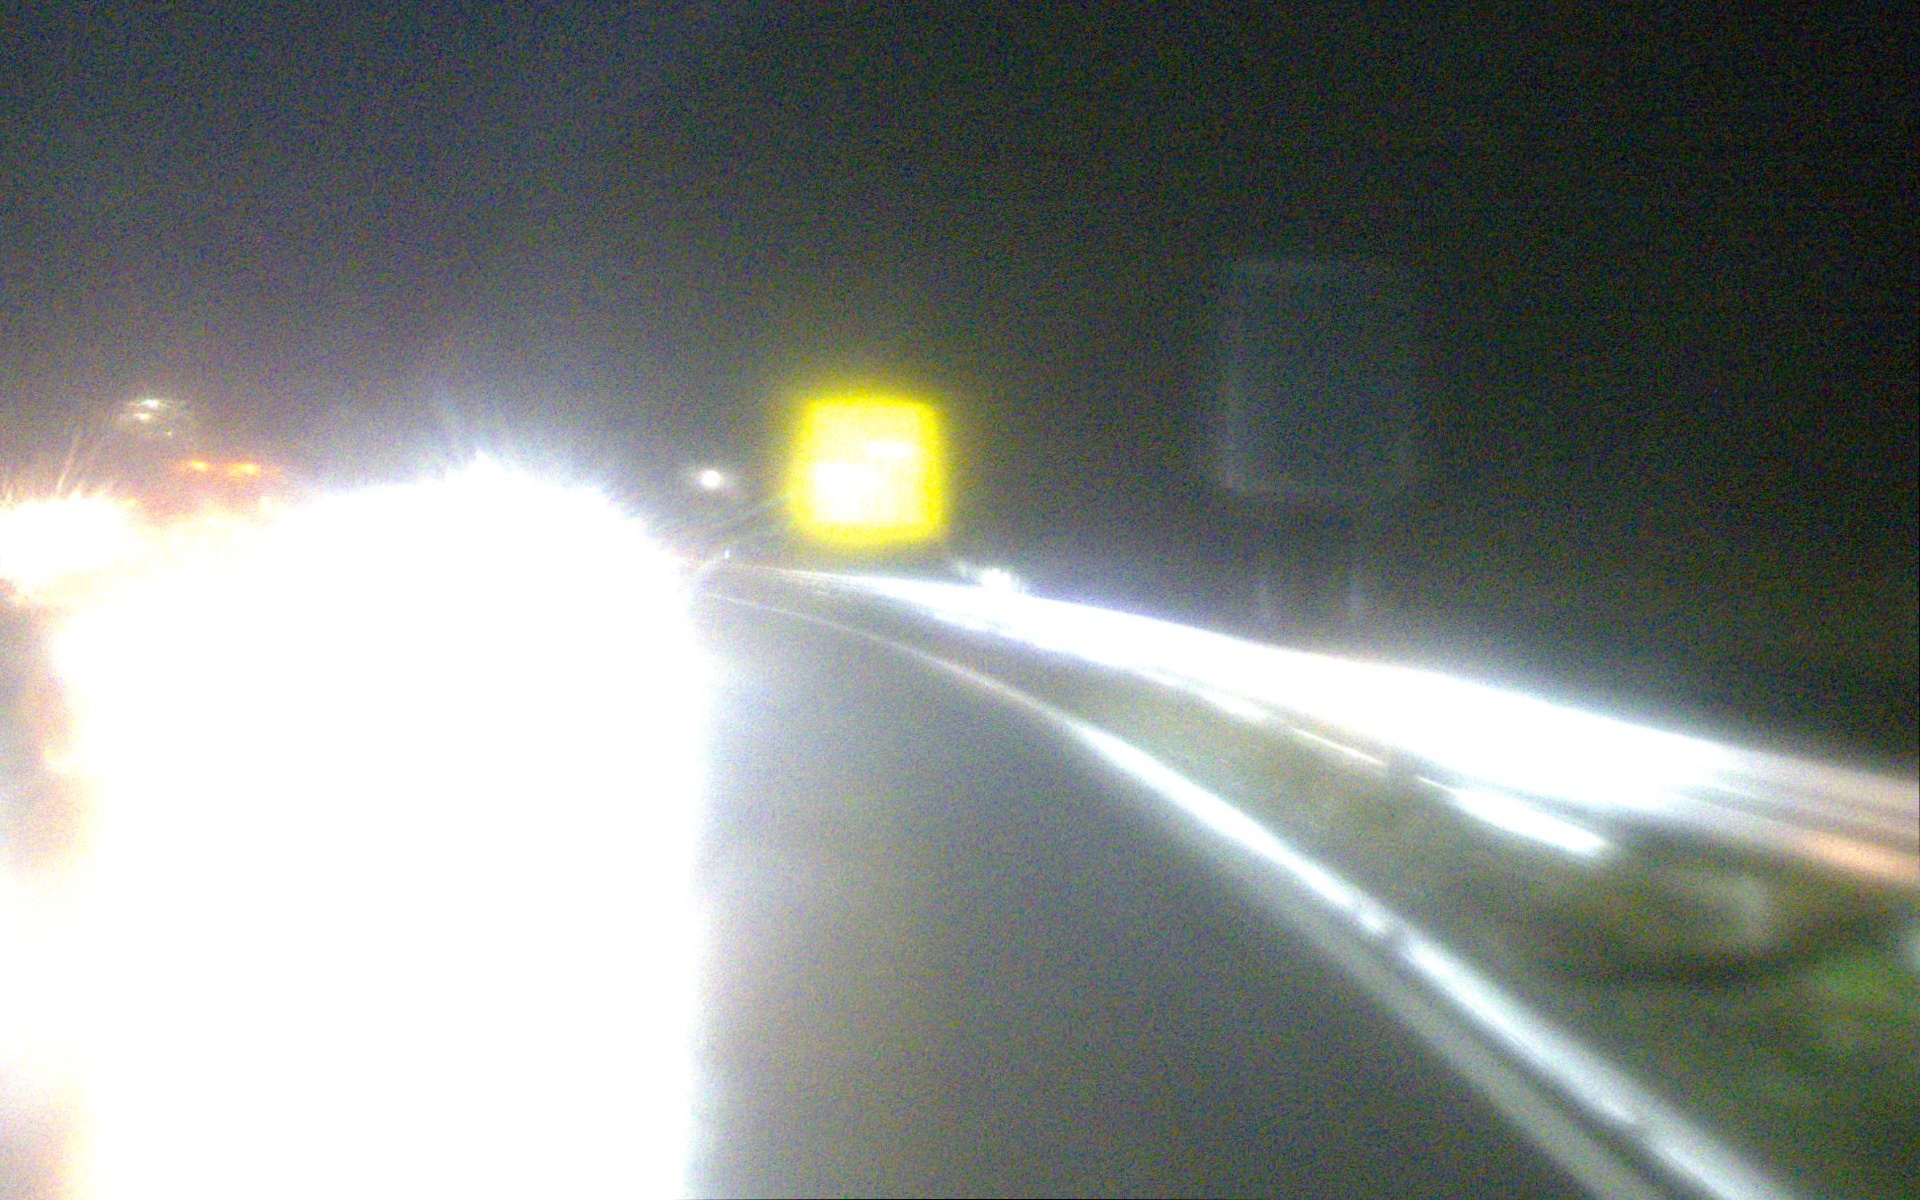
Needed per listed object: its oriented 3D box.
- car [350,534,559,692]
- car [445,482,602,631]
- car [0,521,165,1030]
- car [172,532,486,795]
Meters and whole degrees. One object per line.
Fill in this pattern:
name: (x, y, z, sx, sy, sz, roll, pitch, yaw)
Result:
car: (-5.224, 0.099, 35.990, 1.798, 1.515, 4.536, -1, 1, -4)
car: (-6.284, -0.633, 49.843, 1.993, 2.067, 4.001, 0, 1, -3)
car: (-3.847, 0.529, 10.860, 1.817, 1.554, 4.178, 0, 1, -2)
car: (-4.296, 0.385, 23.842, 1.687, 1.675, 3.468, 0, 1, -3)
